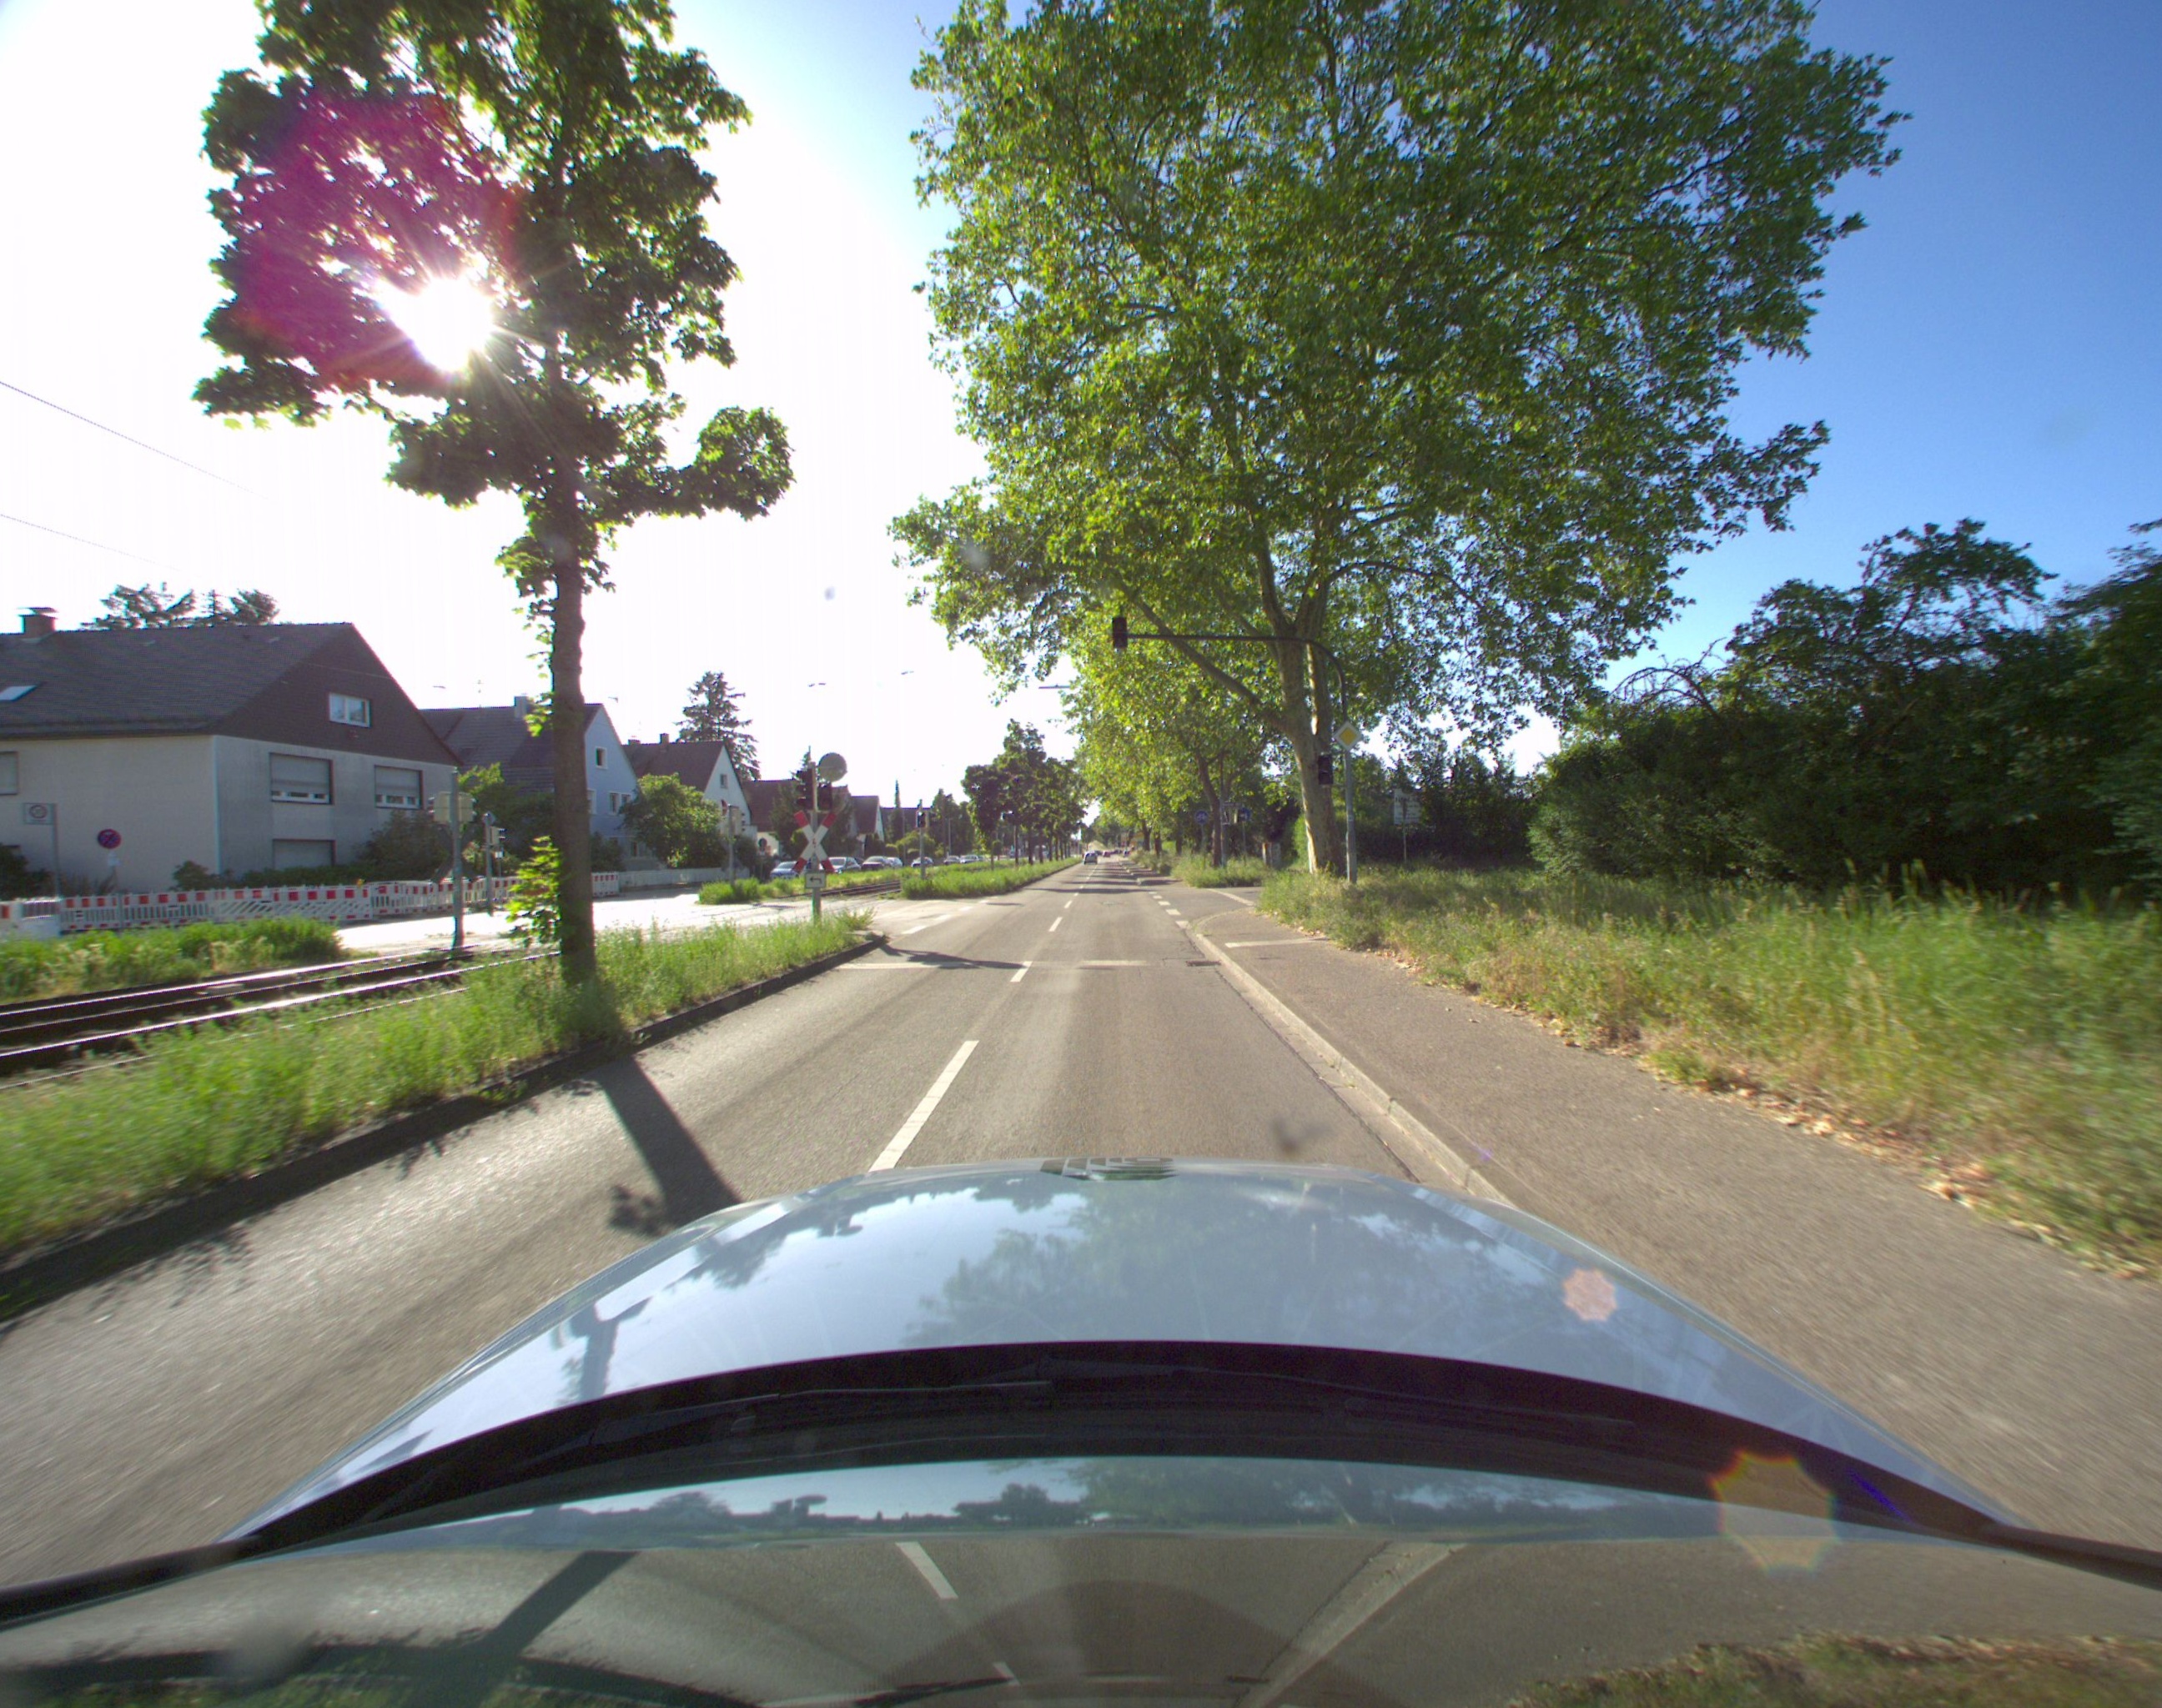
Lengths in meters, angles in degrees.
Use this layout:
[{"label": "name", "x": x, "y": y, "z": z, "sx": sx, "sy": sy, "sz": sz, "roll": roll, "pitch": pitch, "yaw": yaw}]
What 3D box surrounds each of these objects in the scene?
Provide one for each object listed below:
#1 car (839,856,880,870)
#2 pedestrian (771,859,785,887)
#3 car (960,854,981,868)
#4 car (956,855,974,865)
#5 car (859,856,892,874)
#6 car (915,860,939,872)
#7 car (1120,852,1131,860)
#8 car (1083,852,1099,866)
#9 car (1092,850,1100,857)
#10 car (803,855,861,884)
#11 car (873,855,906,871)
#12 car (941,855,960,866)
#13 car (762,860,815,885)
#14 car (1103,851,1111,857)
[{"label": "car", "x": -24.017, "y": 0.925, "z": 88.532, "sx": 3.904, "sy": 1.452, "sz": 1.889, "roll": 0, "pitch": 1, "yaw": 1}, {"label": "pedestrian", "x": -21.765, "y": 1.344, "z": 58.465, "sx": 0.678, "sy": 2.013, "sz": 0.772, "roll": 0, "pitch": 0, "yaw": 1}, {"label": "car", "x": -13.156, "y": 0.820, "z": 97.349, "sx": 1.654, "sy": 1.552, "sz": 4.812, "roll": 0, "pitch": 0, "yaw": 1}, {"label": "car", "x": -17.338, "y": 0.829, "z": 122.044, "sx": 1.853, "sy": 1.431, "sz": 4.463, "roll": 0, "pitch": 0, "yaw": 1}, {"label": "car", "x": -18.677, "y": 0.978, "z": 74.185, "sx": 1.741, "sy": 1.650, "sz": 4.557, "roll": 0, "pitch": 0, "yaw": 1}, {"label": "car", "x": -17.777, "y": 1.374, "z": 93.909, "sx": 1.853, "sy": 1.369, "sz": 4.229, "roll": 0, "pitch": 0, "yaw": 1}, {"label": "car", "x": 9.289, "y": 0.385, "z": 170.351, "sx": 1.986, "sy": 1.603, "sz": 4.475, "roll": 0, "pitch": 0, "yaw": 1}, {"label": "car", "x": 1.180, "y": 0.616, "z": 98.435, "sx": 1.853, "sy": 1.601, "sz": 4.229, "roll": 0, "pitch": 0, "yaw": 1}, {"label": "car", "x": 3.672, "y": -0.053, "z": 197.097, "sx": 1.986, "sy": 1.603, "sz": 4.475, "roll": 0, "pitch": 0, "yaw": 1}, {"label": "car", "x": -14.899, "y": 0.896, "z": 48.987, "sx": 1.986, "sy": 1.603, "sz": 4.475, "roll": 0, "pitch": 0, "yaw": 1}, {"label": "car", "x": -18.716, "y": 0.880, "z": 79.740, "sx": 1.986, "sy": 1.545, "sz": 4.783, "roll": 0, "pitch": 0, "yaw": 2}, {"label": "car", "x": -17.960, "y": 0.880, "z": 112.178, "sx": 1.853, "sy": 1.413, "sz": 4.159, "roll": 0, "pitch": 0, "yaw": 1}, {"label": "car", "x": -19.406, "y": 1.222, "z": 54.224, "sx": 1.853, "sy": 1.542, "sz": 4.229, "roll": 0, "pitch": 0, "yaw": 1}, {"label": "car", "x": 6.111, "y": 0.012, "z": 191.756, "sx": 1.785, "sy": 1.559, "sz": 4.229, "roll": 0, "pitch": 0, "yaw": 1}]
